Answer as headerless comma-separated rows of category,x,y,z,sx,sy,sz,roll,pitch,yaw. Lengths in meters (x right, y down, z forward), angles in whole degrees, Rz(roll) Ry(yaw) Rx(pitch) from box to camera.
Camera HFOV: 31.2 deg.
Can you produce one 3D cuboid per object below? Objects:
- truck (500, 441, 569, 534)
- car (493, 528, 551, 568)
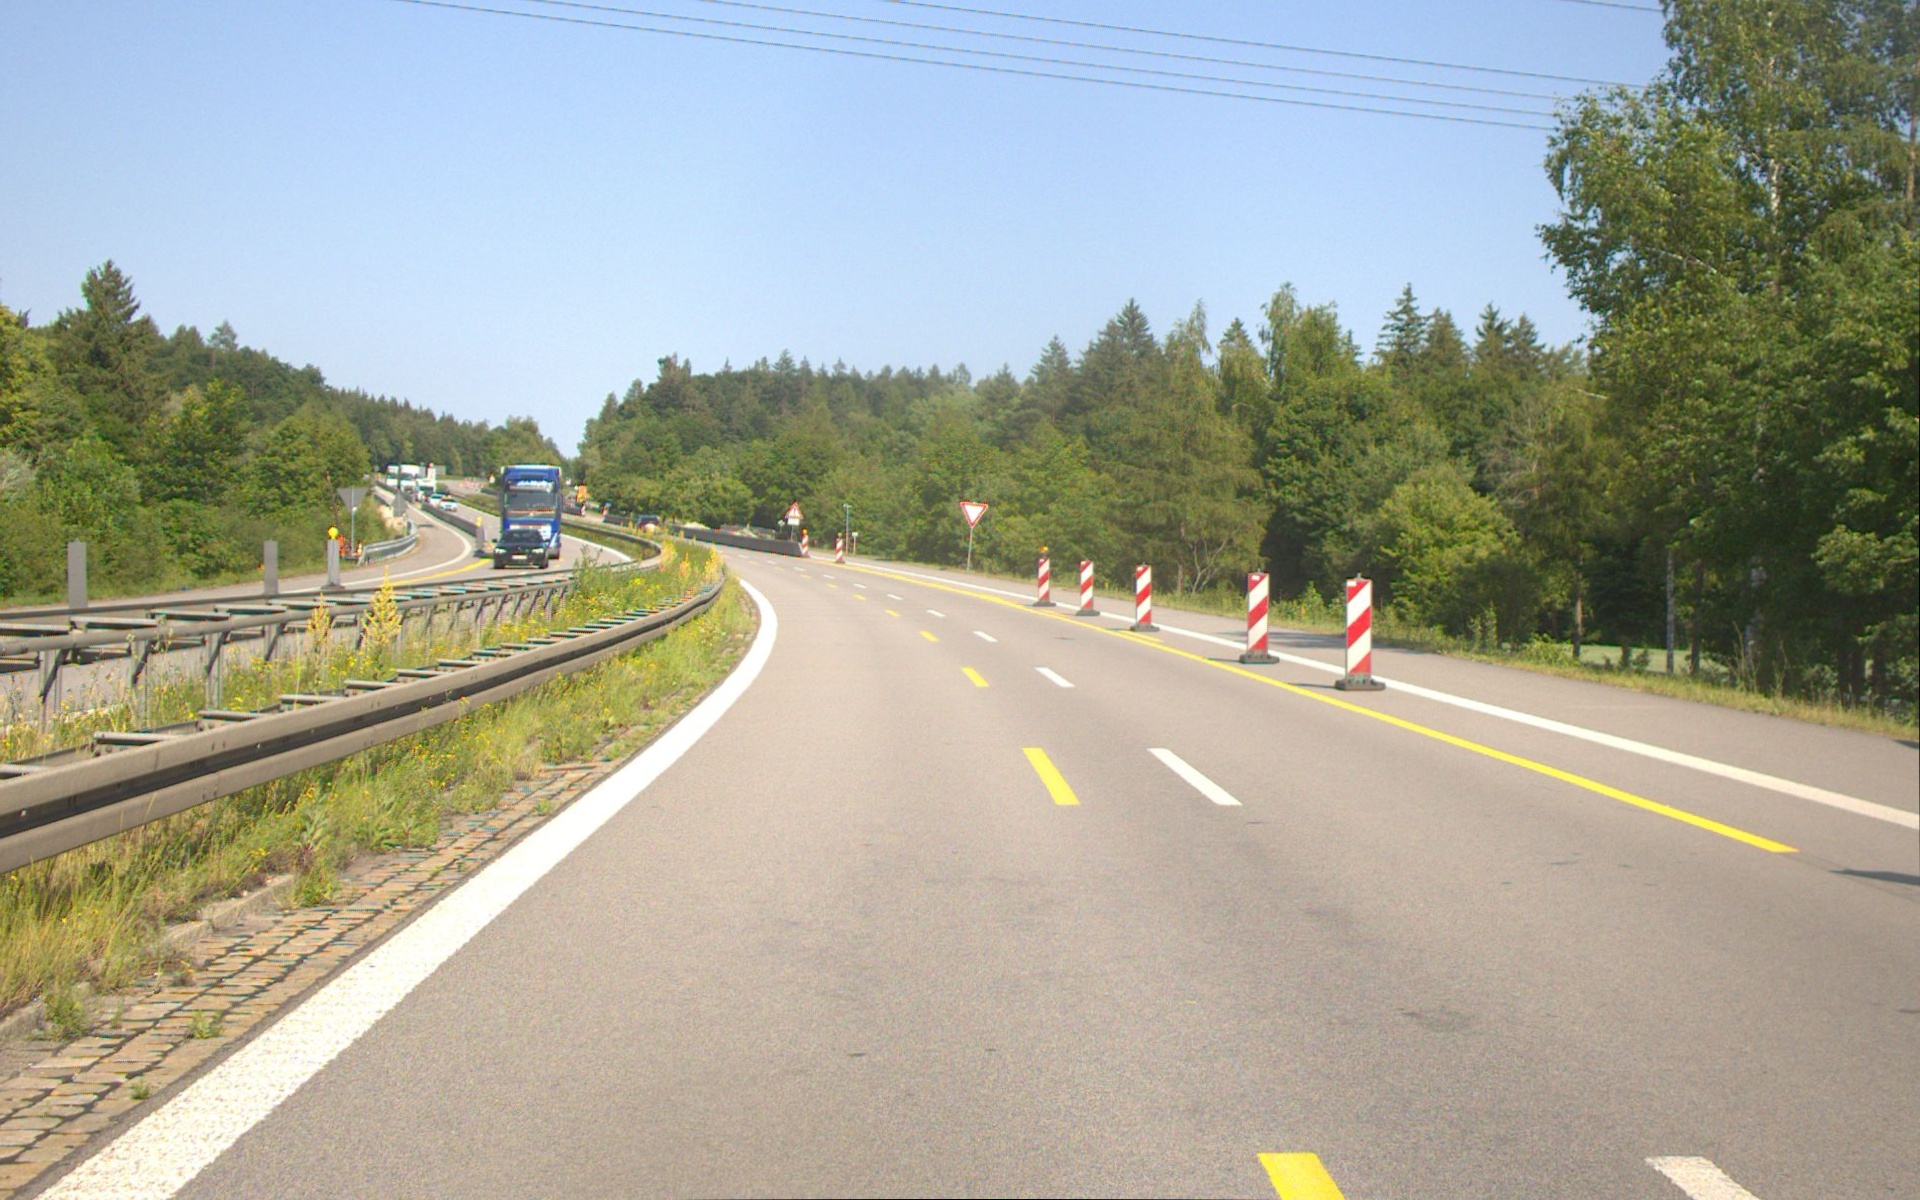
truck,-18.459,-4.840,149.321,2.632,3.946,5.844,1,1,-4
car,-15.642,-1.868,122.967,1.777,1.424,4.269,0,1,-3
